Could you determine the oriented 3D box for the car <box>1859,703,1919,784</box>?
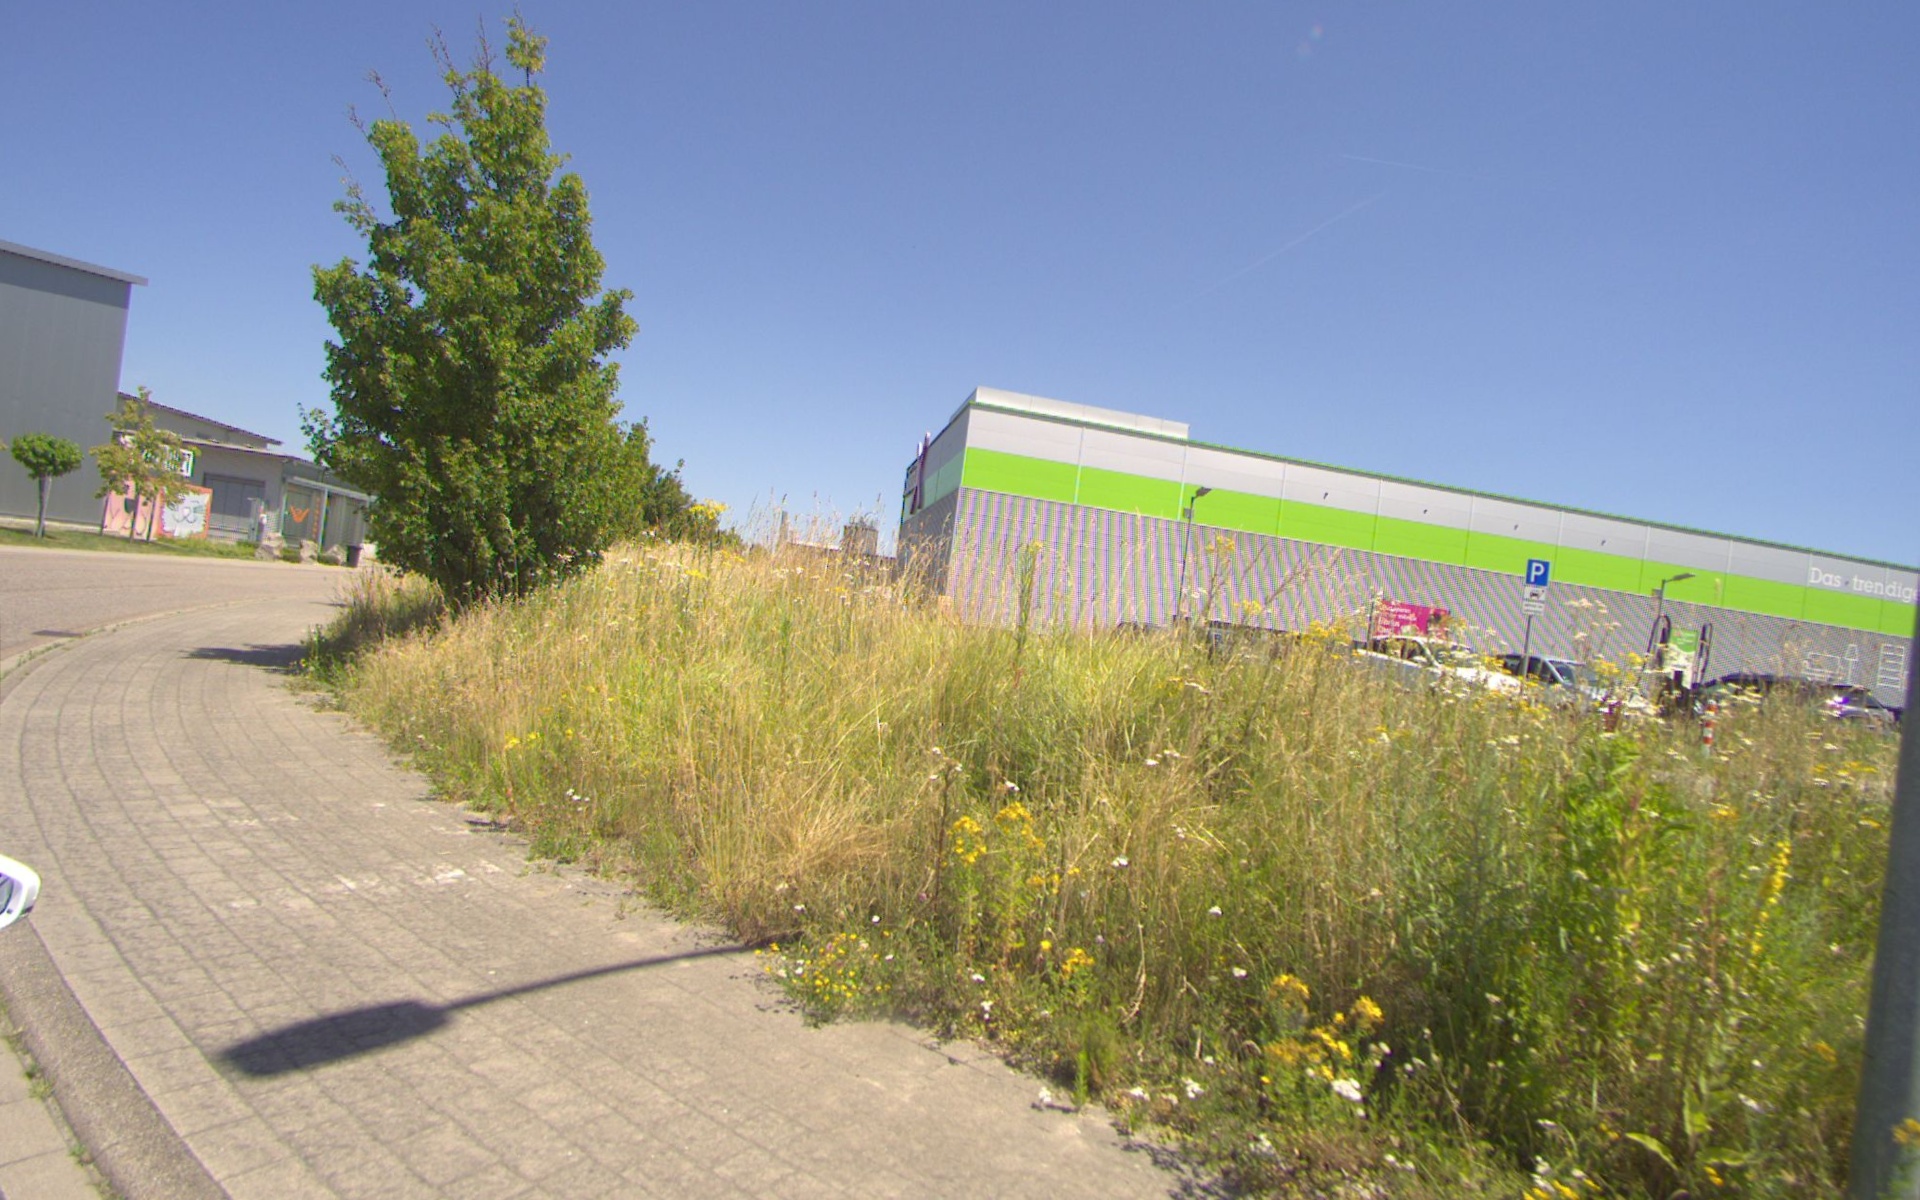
[{"bbox_3d":[23.801,3.559,23.052,1.967,1.807,4.395,7,-2,-10],"label":"car"}]

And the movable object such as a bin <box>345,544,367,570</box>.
[{"bbox_3d":[-25.260,-1.797,42.080,0.564,0.961,0.510,8,0,-16],"label":"movable object such as a bin"}]

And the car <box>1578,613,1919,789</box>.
[{"bbox_3d":[12.177,1.412,15.439,1.922,2.170,4.393,7,-2,-12],"label":"car"}]

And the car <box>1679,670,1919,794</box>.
[{"bbox_3d":[17.137,2.567,19.980,1.967,1.889,4.395,7,-2,-10],"label":"car"}]

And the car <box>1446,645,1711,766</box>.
[{"bbox_3d":[12.040,1.979,20.005,1.906,1.807,4.395,7,-2,-10],"label":"car"}]

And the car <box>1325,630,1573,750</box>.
[{"bbox_3d":[9.315,1.634,19.665,1.922,1.807,4.393,7,-2,-12],"label":"car"}]

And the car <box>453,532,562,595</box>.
[{"bbox_3d":[-15.151,-1.168,33.976,2.114,1.719,4.777,6,-1,-10],"label":"car"}]

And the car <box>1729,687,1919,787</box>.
[{"bbox_3d":[20.999,3.216,23.598,1.967,1.807,4.395,7,-2,-10],"label":"car"}]

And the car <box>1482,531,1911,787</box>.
[{"bbox_3d":[9.867,0.761,14.132,1.965,2.775,4.749,7,-2,-6],"label":"car"}]

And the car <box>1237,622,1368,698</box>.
[{"bbox_3d":[11.005,1.875,32.713,1.967,1.874,4.391,7,0,-10],"label":"car"}]
